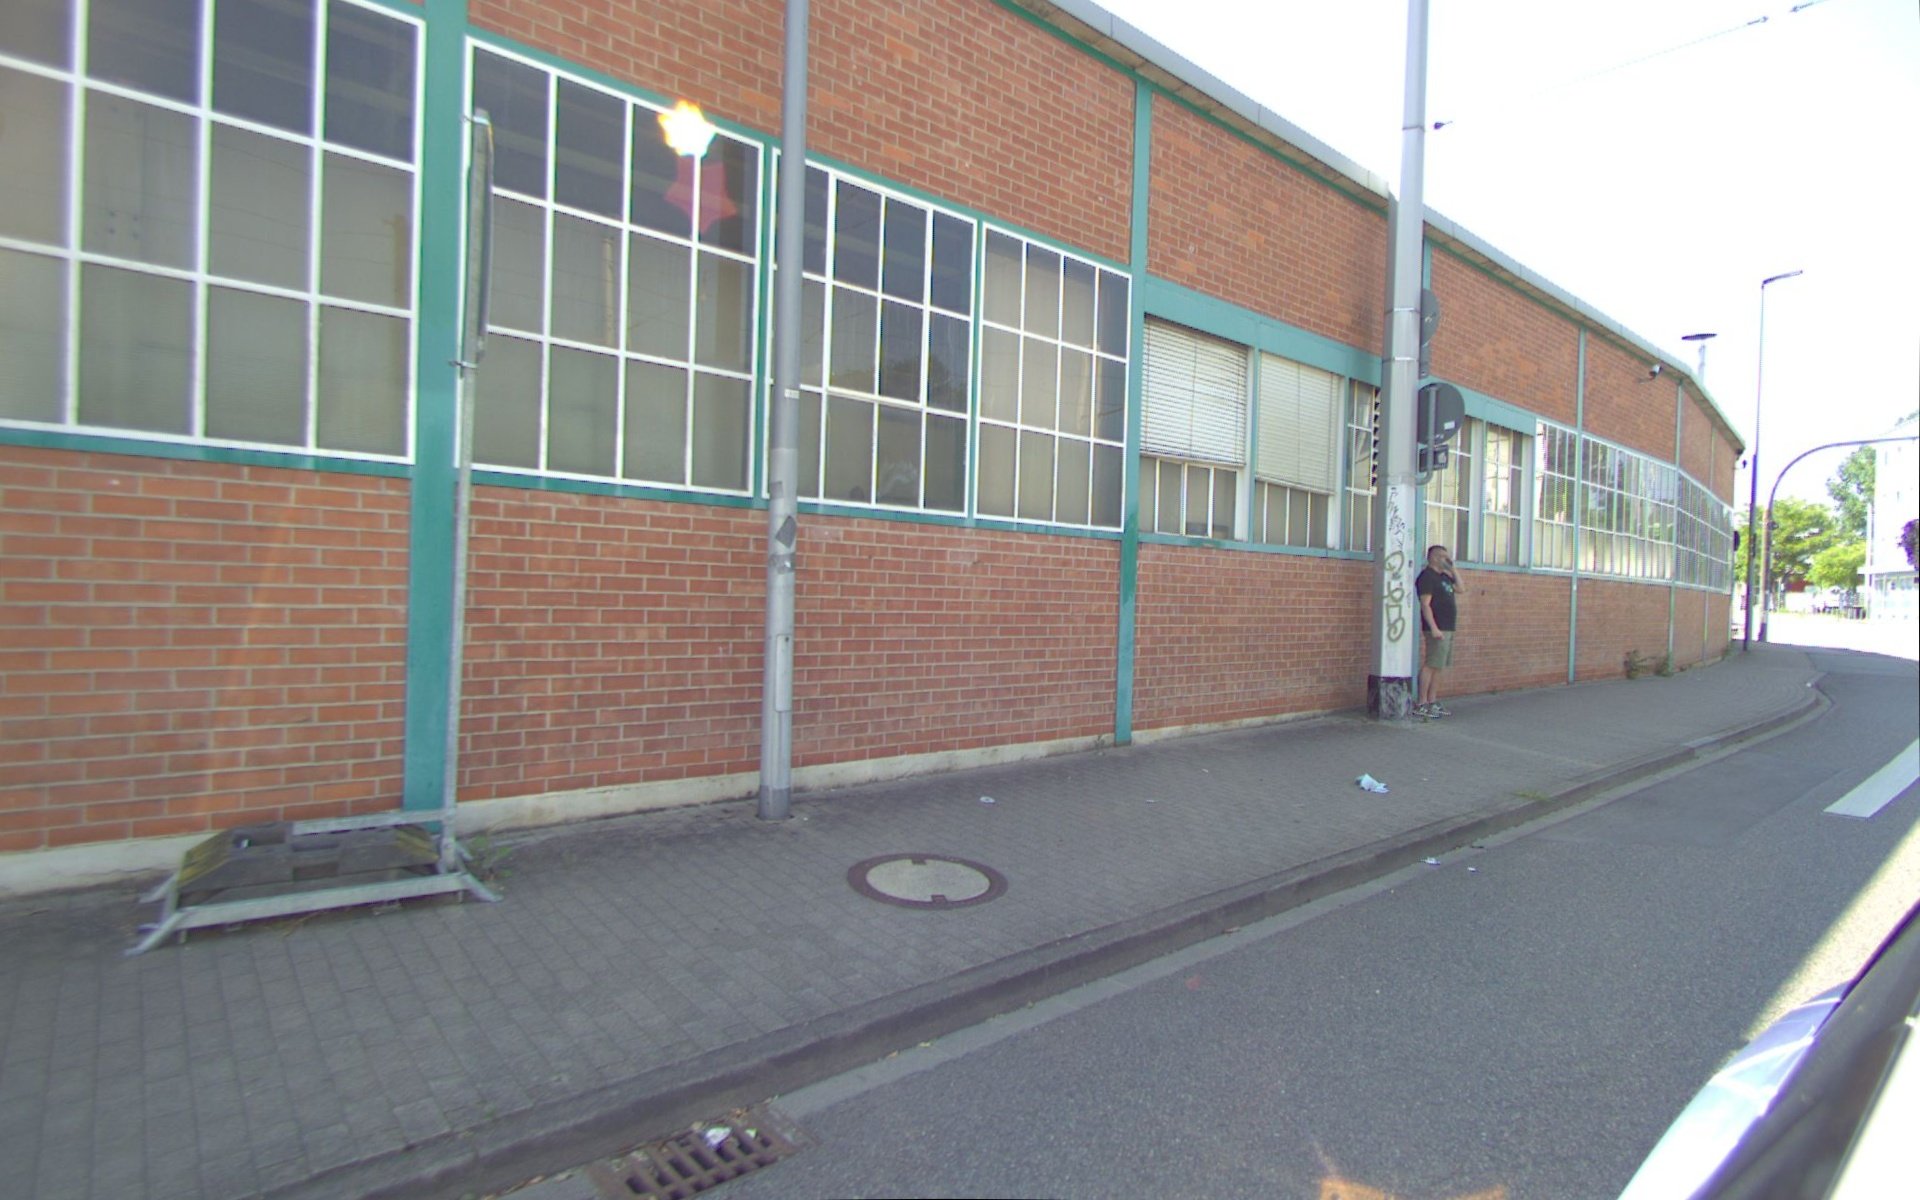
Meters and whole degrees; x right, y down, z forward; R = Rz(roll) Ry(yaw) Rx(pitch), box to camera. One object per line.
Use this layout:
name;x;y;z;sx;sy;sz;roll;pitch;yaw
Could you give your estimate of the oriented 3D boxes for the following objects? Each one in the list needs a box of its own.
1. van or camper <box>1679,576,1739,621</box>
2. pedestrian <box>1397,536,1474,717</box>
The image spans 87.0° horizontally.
van or camper;45.336;-0.102;61.363;2.025;2.565;5.812;2;1;28
pedestrian;4.907;0.271;10.430;0.674;1.787;0.448;4;-2;-42
